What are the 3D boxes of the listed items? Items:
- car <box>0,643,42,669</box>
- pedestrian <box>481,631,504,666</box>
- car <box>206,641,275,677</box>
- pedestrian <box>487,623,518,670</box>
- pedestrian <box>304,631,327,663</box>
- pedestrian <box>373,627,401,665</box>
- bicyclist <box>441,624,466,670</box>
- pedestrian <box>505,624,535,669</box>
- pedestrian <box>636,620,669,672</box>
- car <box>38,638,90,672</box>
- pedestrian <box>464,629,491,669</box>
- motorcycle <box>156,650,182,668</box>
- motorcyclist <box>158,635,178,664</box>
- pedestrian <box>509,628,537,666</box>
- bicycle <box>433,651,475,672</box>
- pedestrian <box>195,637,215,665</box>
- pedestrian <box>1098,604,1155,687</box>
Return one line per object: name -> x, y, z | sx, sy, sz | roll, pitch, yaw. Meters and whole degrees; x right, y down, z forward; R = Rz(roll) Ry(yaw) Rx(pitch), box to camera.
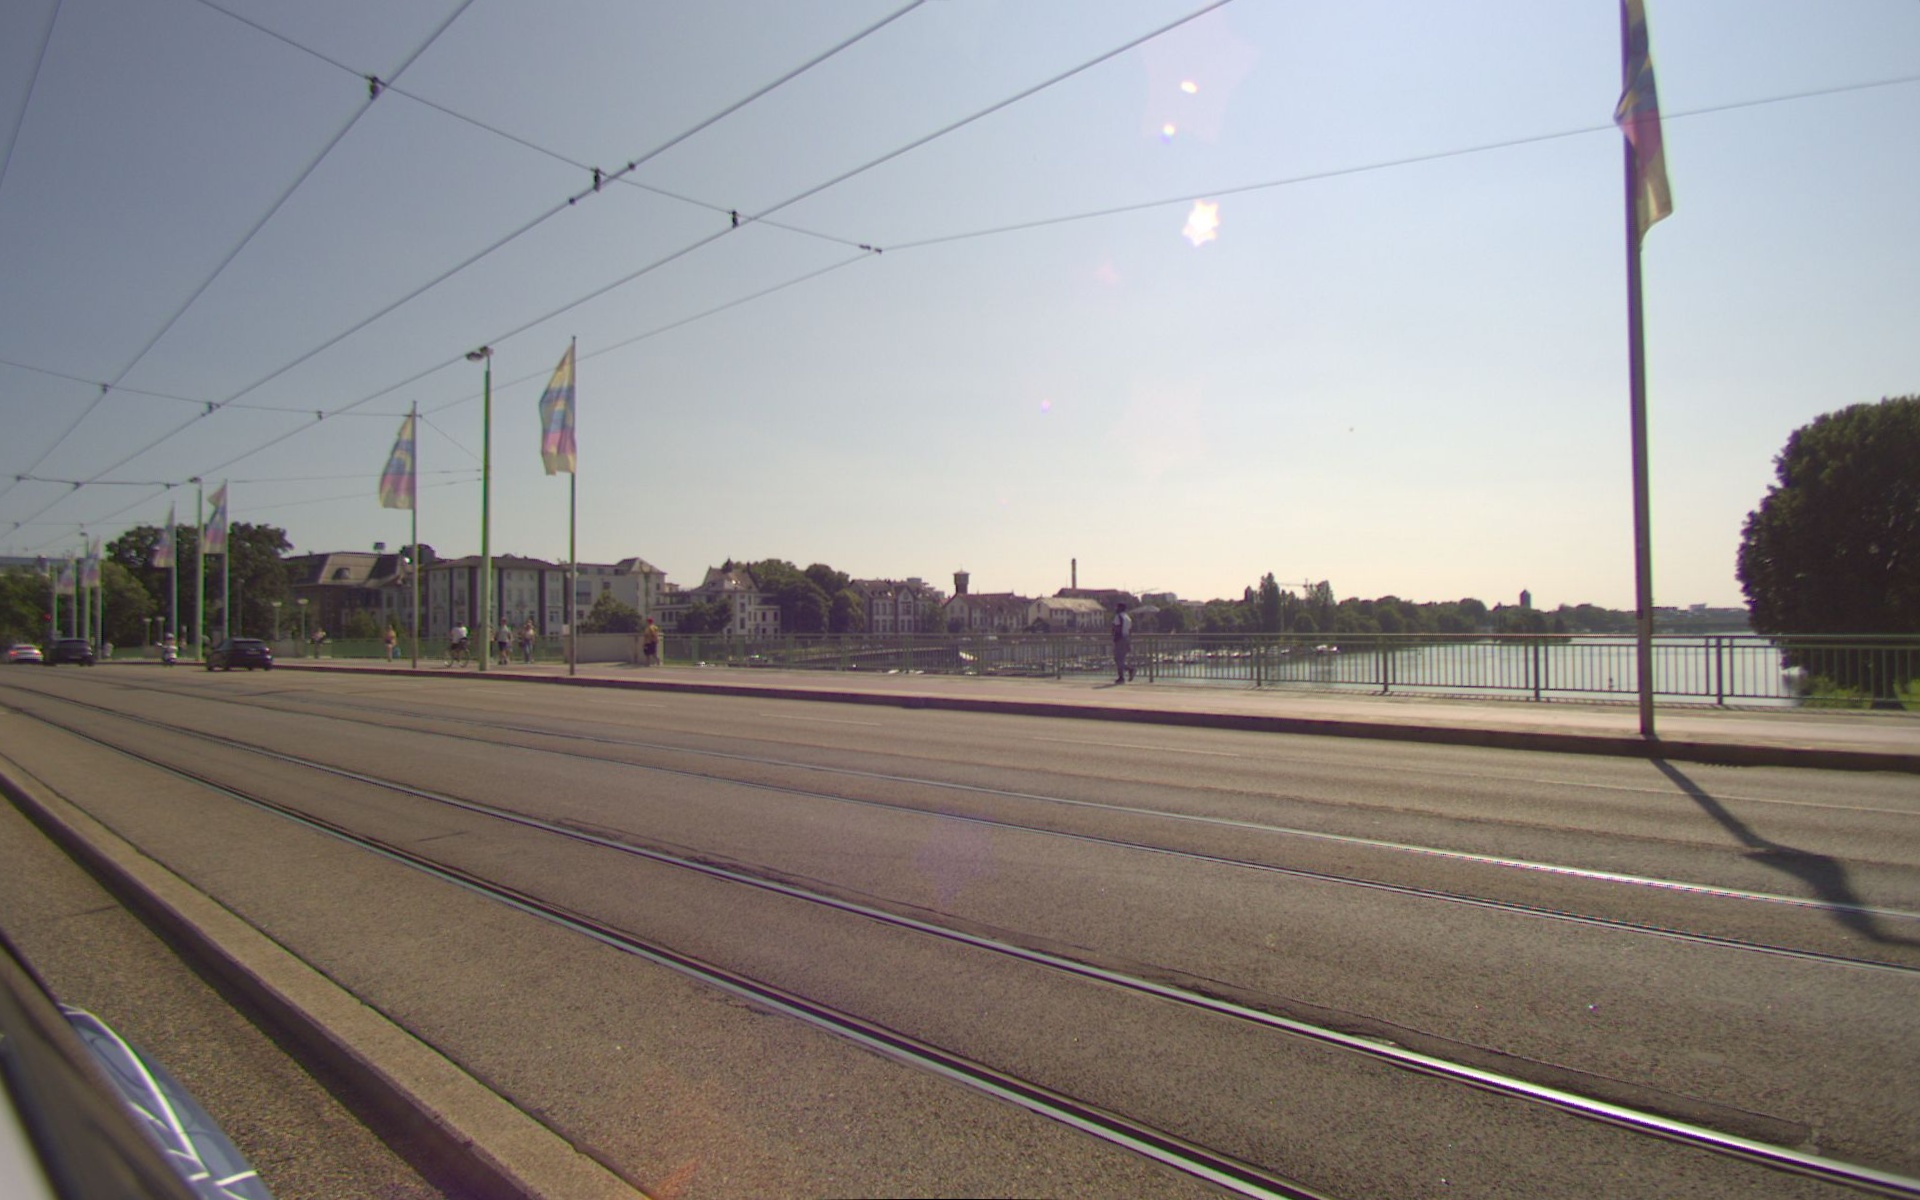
car -> -65.794, 3.894, 70.848 | 3.999, 1.632, 1.790 | -2, 2, 42
pedestrian -> -19.672, 2.030, 42.579 | 0.788, 1.448, 0.540 | -2, 0, 41
car -> -31.878, 2.579, 44.791 | 3.999, 1.447, 1.650 | -1, -2, 42
pedestrian -> -17.473, 1.766, 38.641 | 1.022, 1.712, 0.663 | -2, 0, 41
pedestrian -> -35.962, 2.633, 56.465 | 1.022, 1.712, 0.777 | -2, 0, 41
pedestrian -> -26.474, 2.131, 46.765 | 1.022, 1.712, 0.777 | -2, 0, 41
bicyclist -> -18.884, 1.746, 37.731 | 0.621, 1.663, 0.657 | -2, -2, 42
pedestrian -> -17.482, 1.840, 40.214 | 1.022, 1.703, 0.677 | -2, 0, 41
pedestrian -> -10.300, 1.527, 33.871 | 1.022, 1.712, 0.584 | -2, 0, 41
car -> -50.600, 3.048, 57.137 | 3.999, 1.709, 1.692 | -2, 2, 42
pedestrian -> -20.035, 2.026, 42.013 | 1.022, 1.611, 0.619 | -2, 0, 41
motorcycle -> -42.207, 3.141, 53.994 | 2.144, 0.896, 0.725 | -2, -2, 41
motorcyclist -> -42.292, 2.624, 54.043 | 0.728, 1.524, 0.730 | -2, -2, 41
pedestrian -> -16.937, 1.829, 39.196 | 1.022, 1.425, 0.584 | -2, 0, 41
bicycle -> -18.881, 2.295, 37.720 | 2.172, 0.721, 0.658 | -2, -2, 42
pedestrian -> -49.130, 3.303, 65.835 | 1.022, 1.712, 0.777 | -2, 0, 41
pedestrian -> 3.565, 0.966, 21.702 | 1.022, 1.712, 0.584 | -2, 0, 41
